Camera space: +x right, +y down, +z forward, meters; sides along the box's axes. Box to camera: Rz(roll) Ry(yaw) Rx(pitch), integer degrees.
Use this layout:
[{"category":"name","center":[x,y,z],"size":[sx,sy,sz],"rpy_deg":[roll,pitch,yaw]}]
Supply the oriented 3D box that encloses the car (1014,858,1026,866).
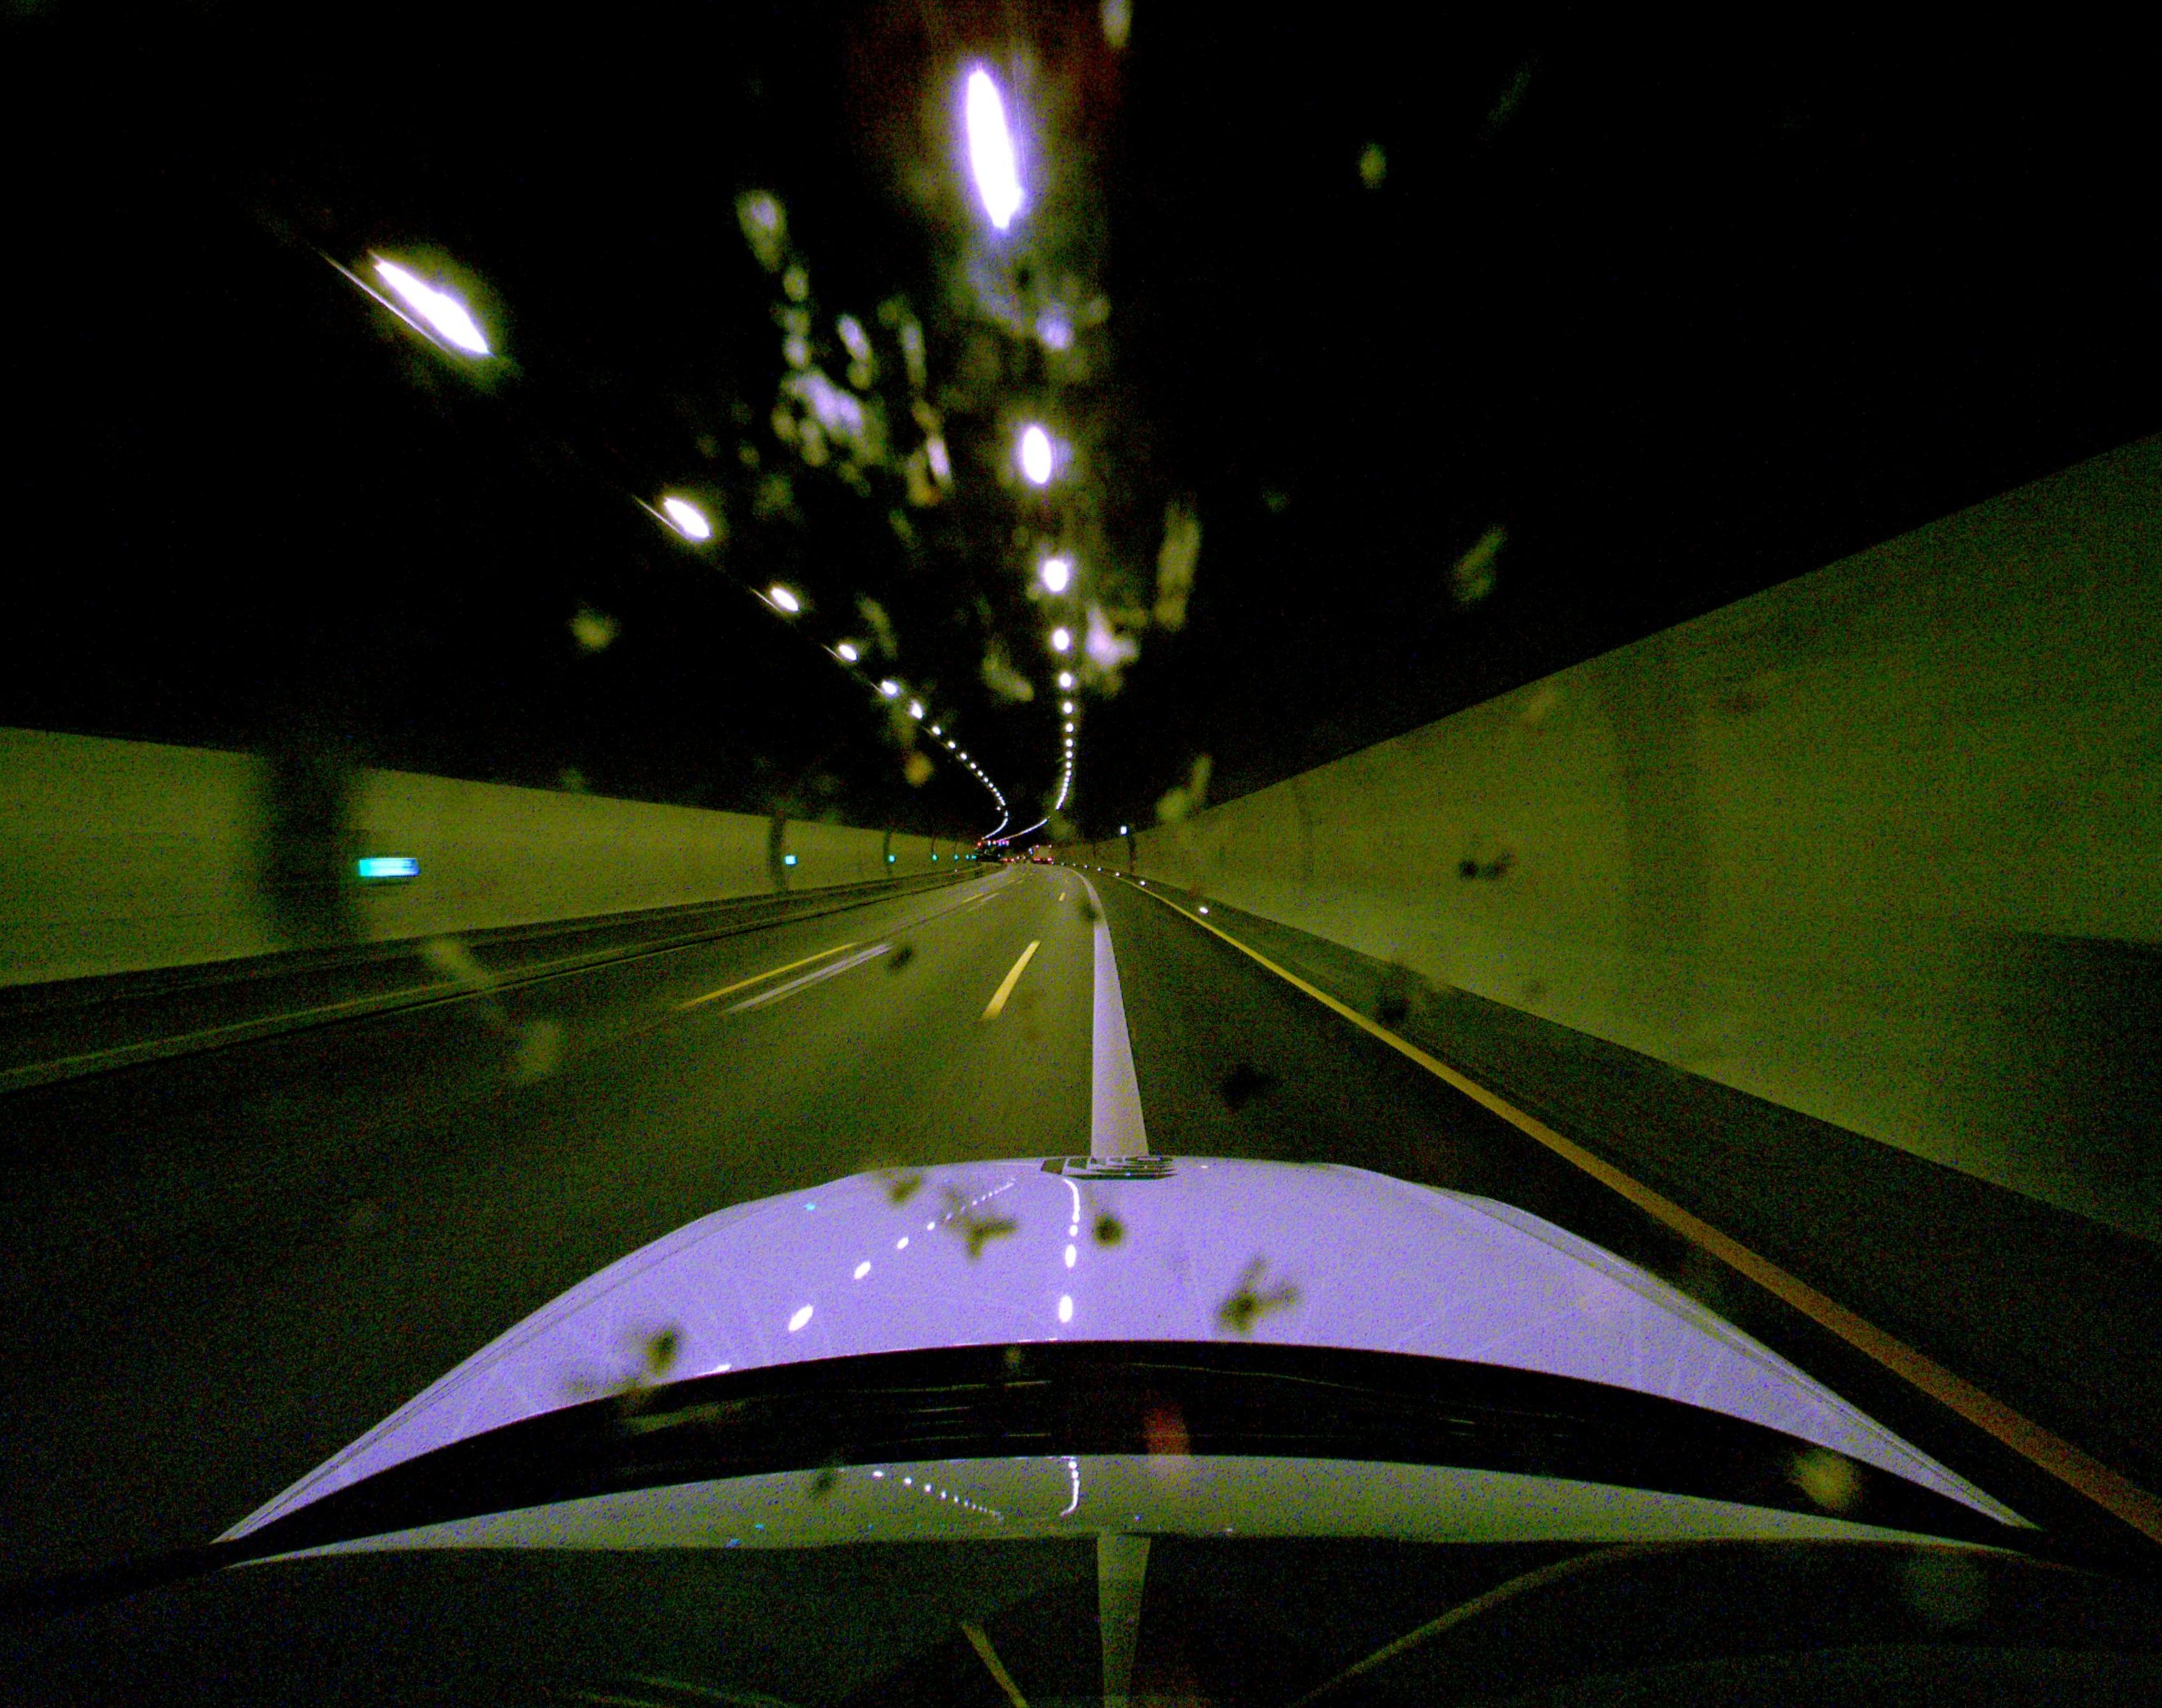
[{"category":"car","center":[-12.517,1.723,167.050],"size":[1.994,1.582,3.985],"rpy_deg":[1,0,-11]}]

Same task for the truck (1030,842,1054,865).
[{"category":"truck","center":[-7.630,-0.141,157.579],"size":[3.474,4.316,10.913],"rpy_deg":[0,0,-10]}]

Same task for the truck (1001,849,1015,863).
[{"category":"truck","center":[-22.837,0.767,255.399],"size":[3.474,4.316,10.913],"rpy_deg":[0,0,-10]}]
